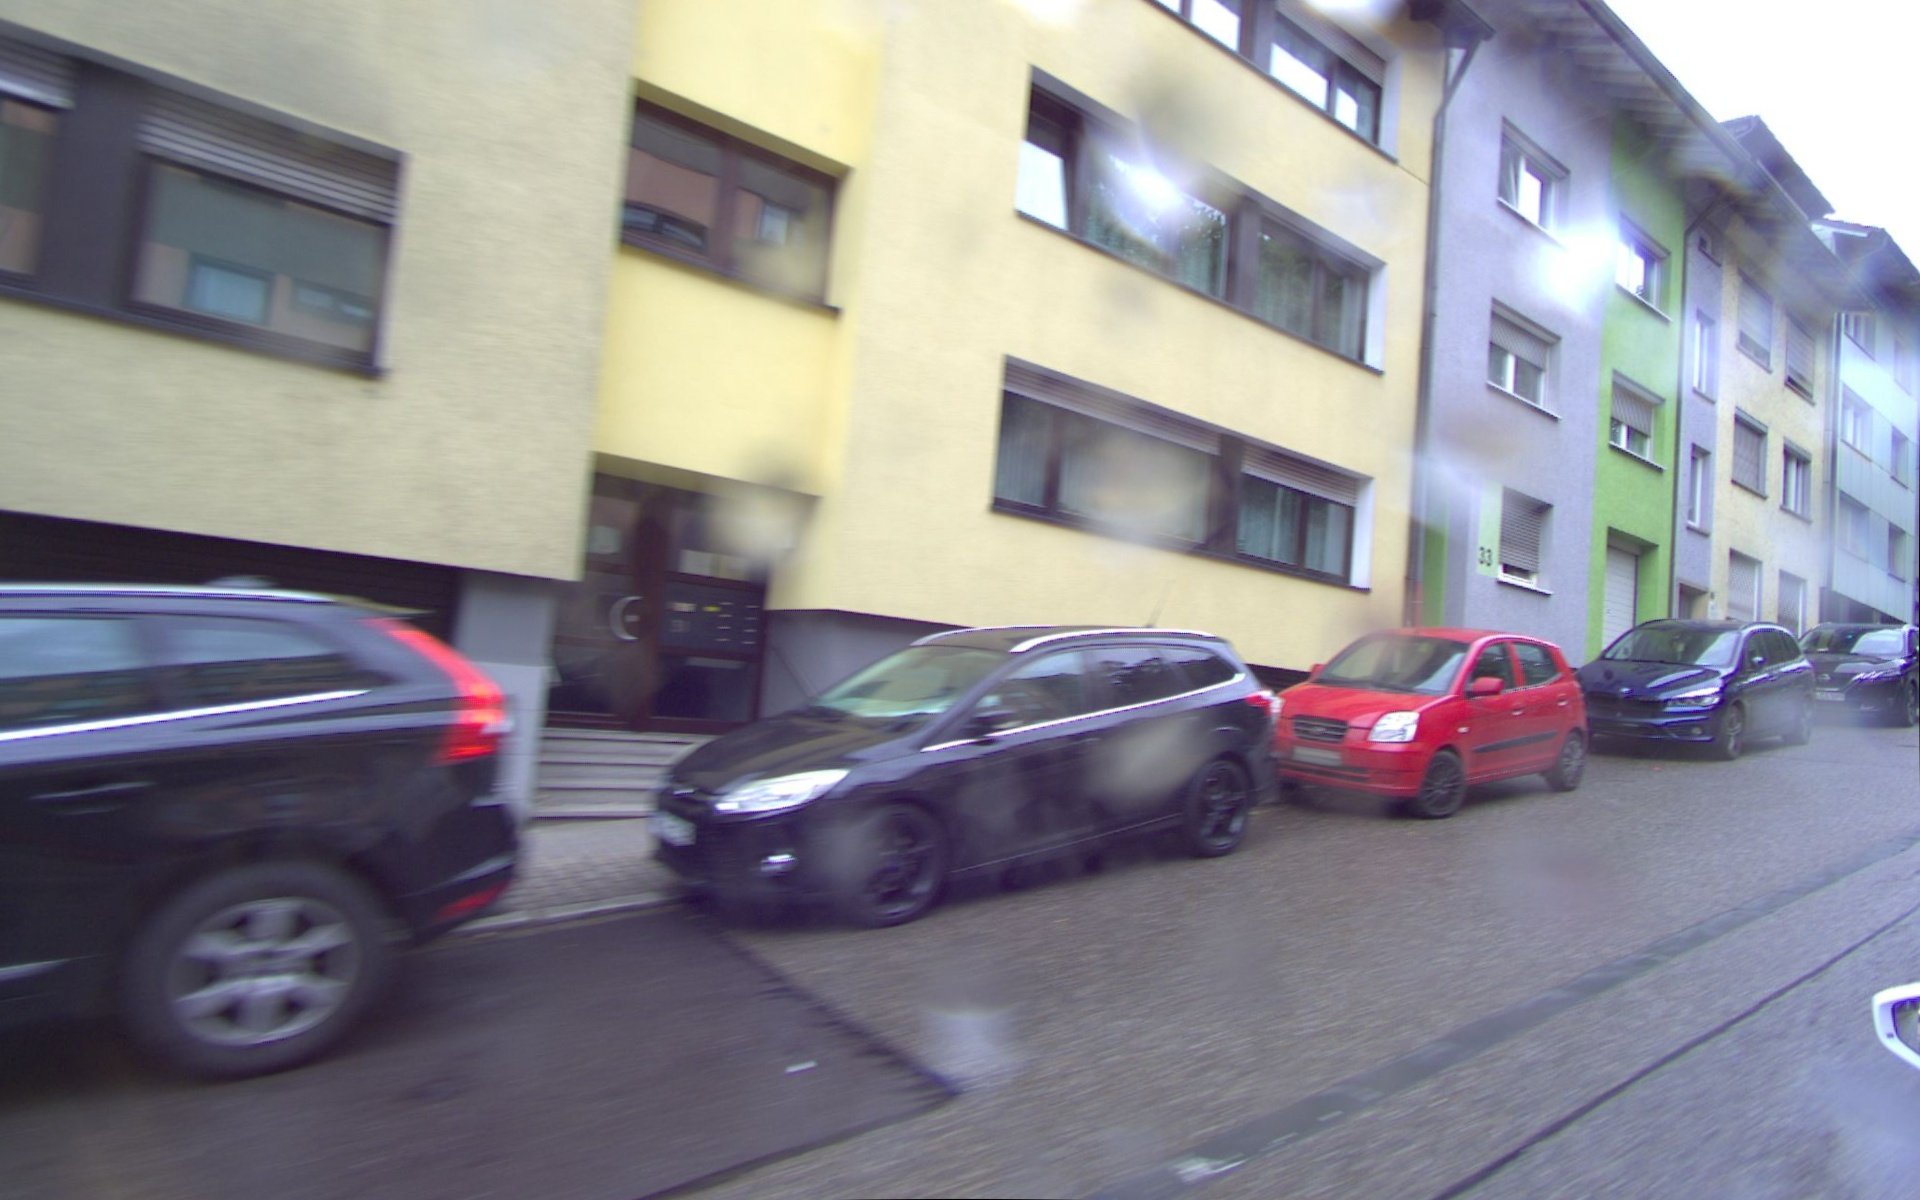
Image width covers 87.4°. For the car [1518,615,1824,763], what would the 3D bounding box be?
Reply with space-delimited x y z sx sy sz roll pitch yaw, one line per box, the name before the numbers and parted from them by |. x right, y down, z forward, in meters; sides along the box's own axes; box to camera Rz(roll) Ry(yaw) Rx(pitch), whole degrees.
car | 9.321 1.011 13.055 4.429 1.606 1.979 1 -2 -37

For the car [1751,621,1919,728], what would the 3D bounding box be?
car | 15.348 1.168 17.163 4.264 1.606 1.840 1 -2 -37

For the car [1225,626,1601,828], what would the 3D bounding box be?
car | 4.247 1.004 9.273 3.458 1.492 1.716 1 -2 -37

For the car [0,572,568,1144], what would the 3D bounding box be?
car | -3.854 0.775 3.443 4.394 1.672 1.982 1 -2 -33

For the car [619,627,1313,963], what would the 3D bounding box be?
car | 0.207 0.941 6.652 4.307 1.492 1.980 1 -2 -37
